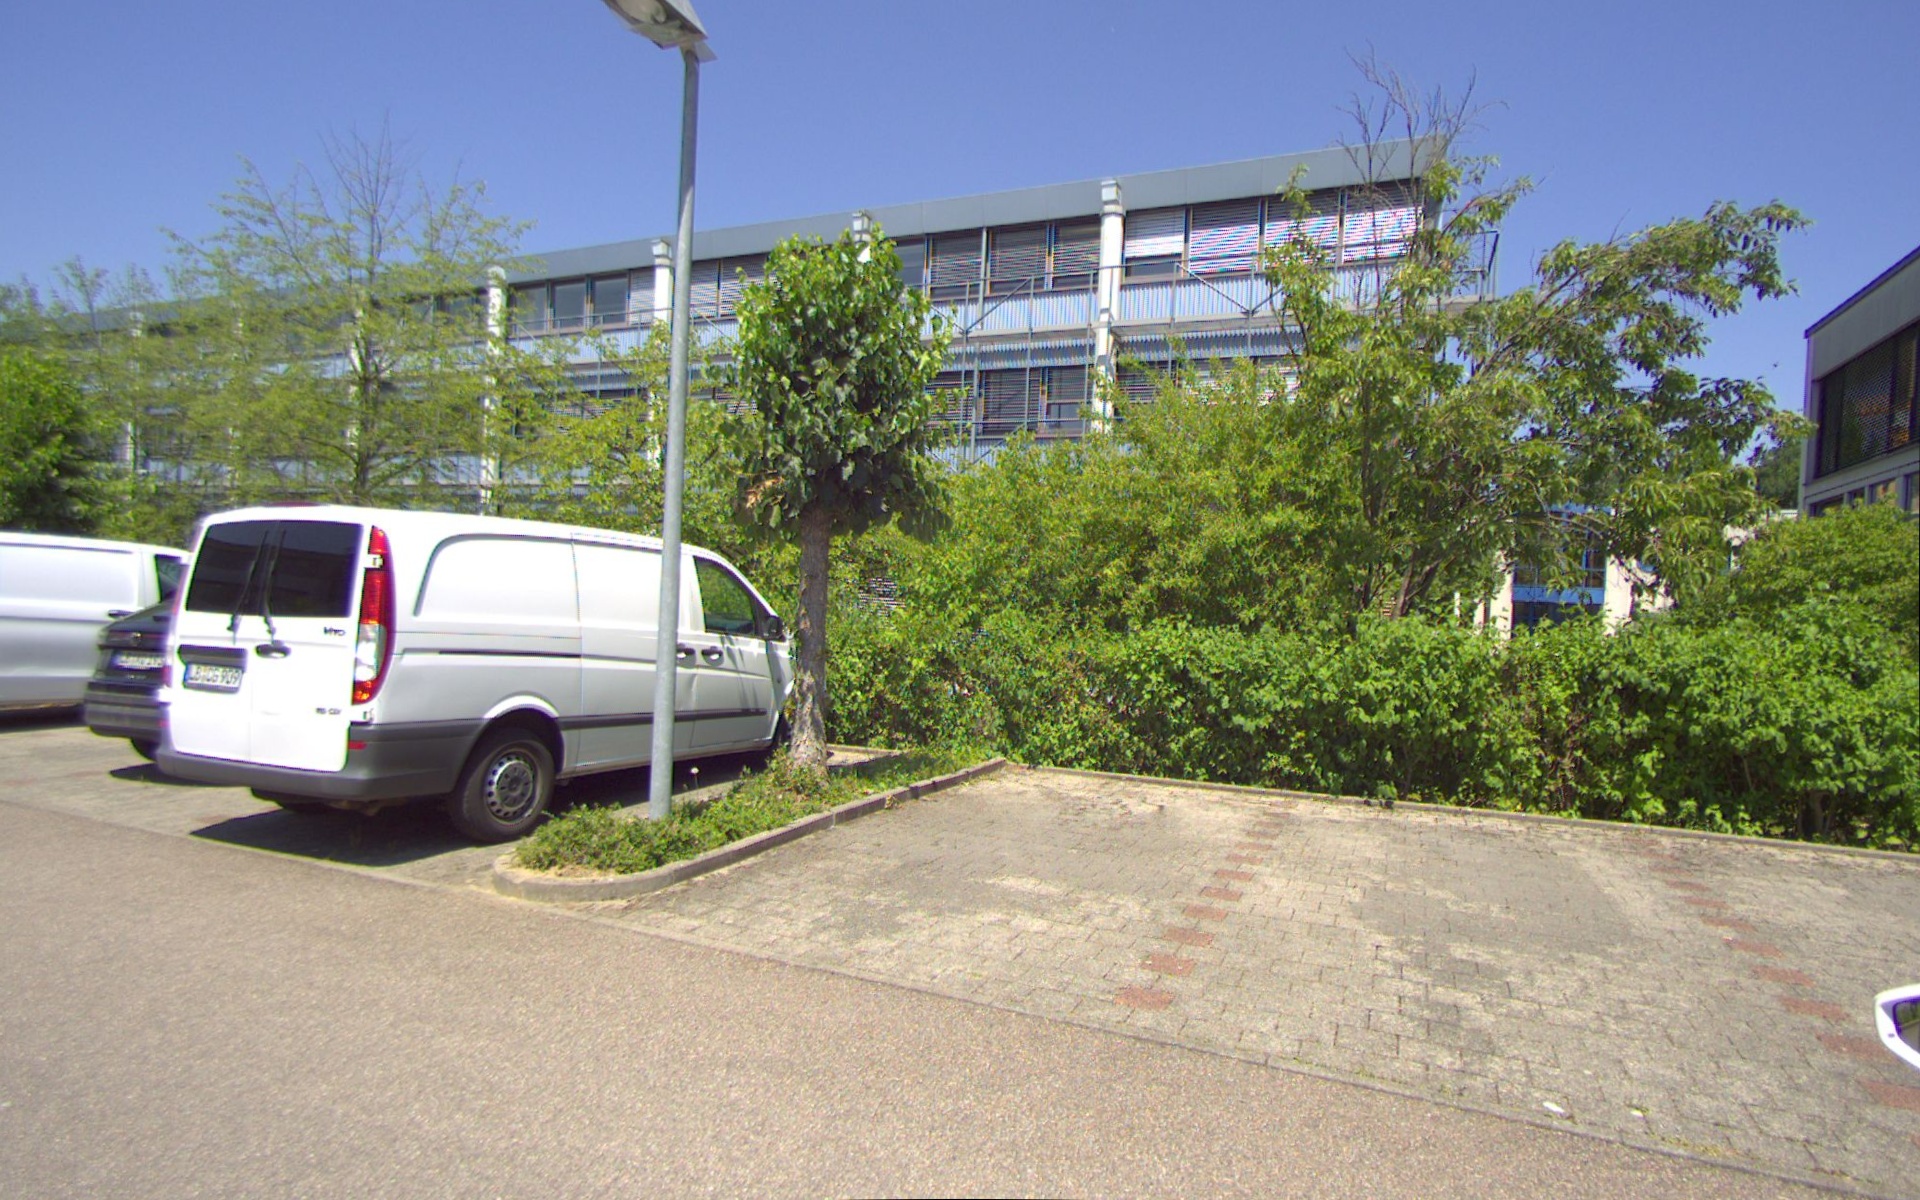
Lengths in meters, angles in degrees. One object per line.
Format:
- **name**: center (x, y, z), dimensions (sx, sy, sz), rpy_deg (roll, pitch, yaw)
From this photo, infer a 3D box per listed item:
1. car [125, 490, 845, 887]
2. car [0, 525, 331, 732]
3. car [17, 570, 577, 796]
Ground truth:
- **car**: center (-2.872, 0.446, 7.476), dimensions (1.882, 1.930, 4.806), rpy_deg (1, 0, 23)
- **car**: center (-9.449, 0.247, 10.312), dimensions (1.852, 1.916, 4.799), rpy_deg (2, 0, 25)
- **car**: center (-5.421, 0.571, 8.933), dimensions (1.724, 1.496, 4.002), rpy_deg (1, 0, 15)
